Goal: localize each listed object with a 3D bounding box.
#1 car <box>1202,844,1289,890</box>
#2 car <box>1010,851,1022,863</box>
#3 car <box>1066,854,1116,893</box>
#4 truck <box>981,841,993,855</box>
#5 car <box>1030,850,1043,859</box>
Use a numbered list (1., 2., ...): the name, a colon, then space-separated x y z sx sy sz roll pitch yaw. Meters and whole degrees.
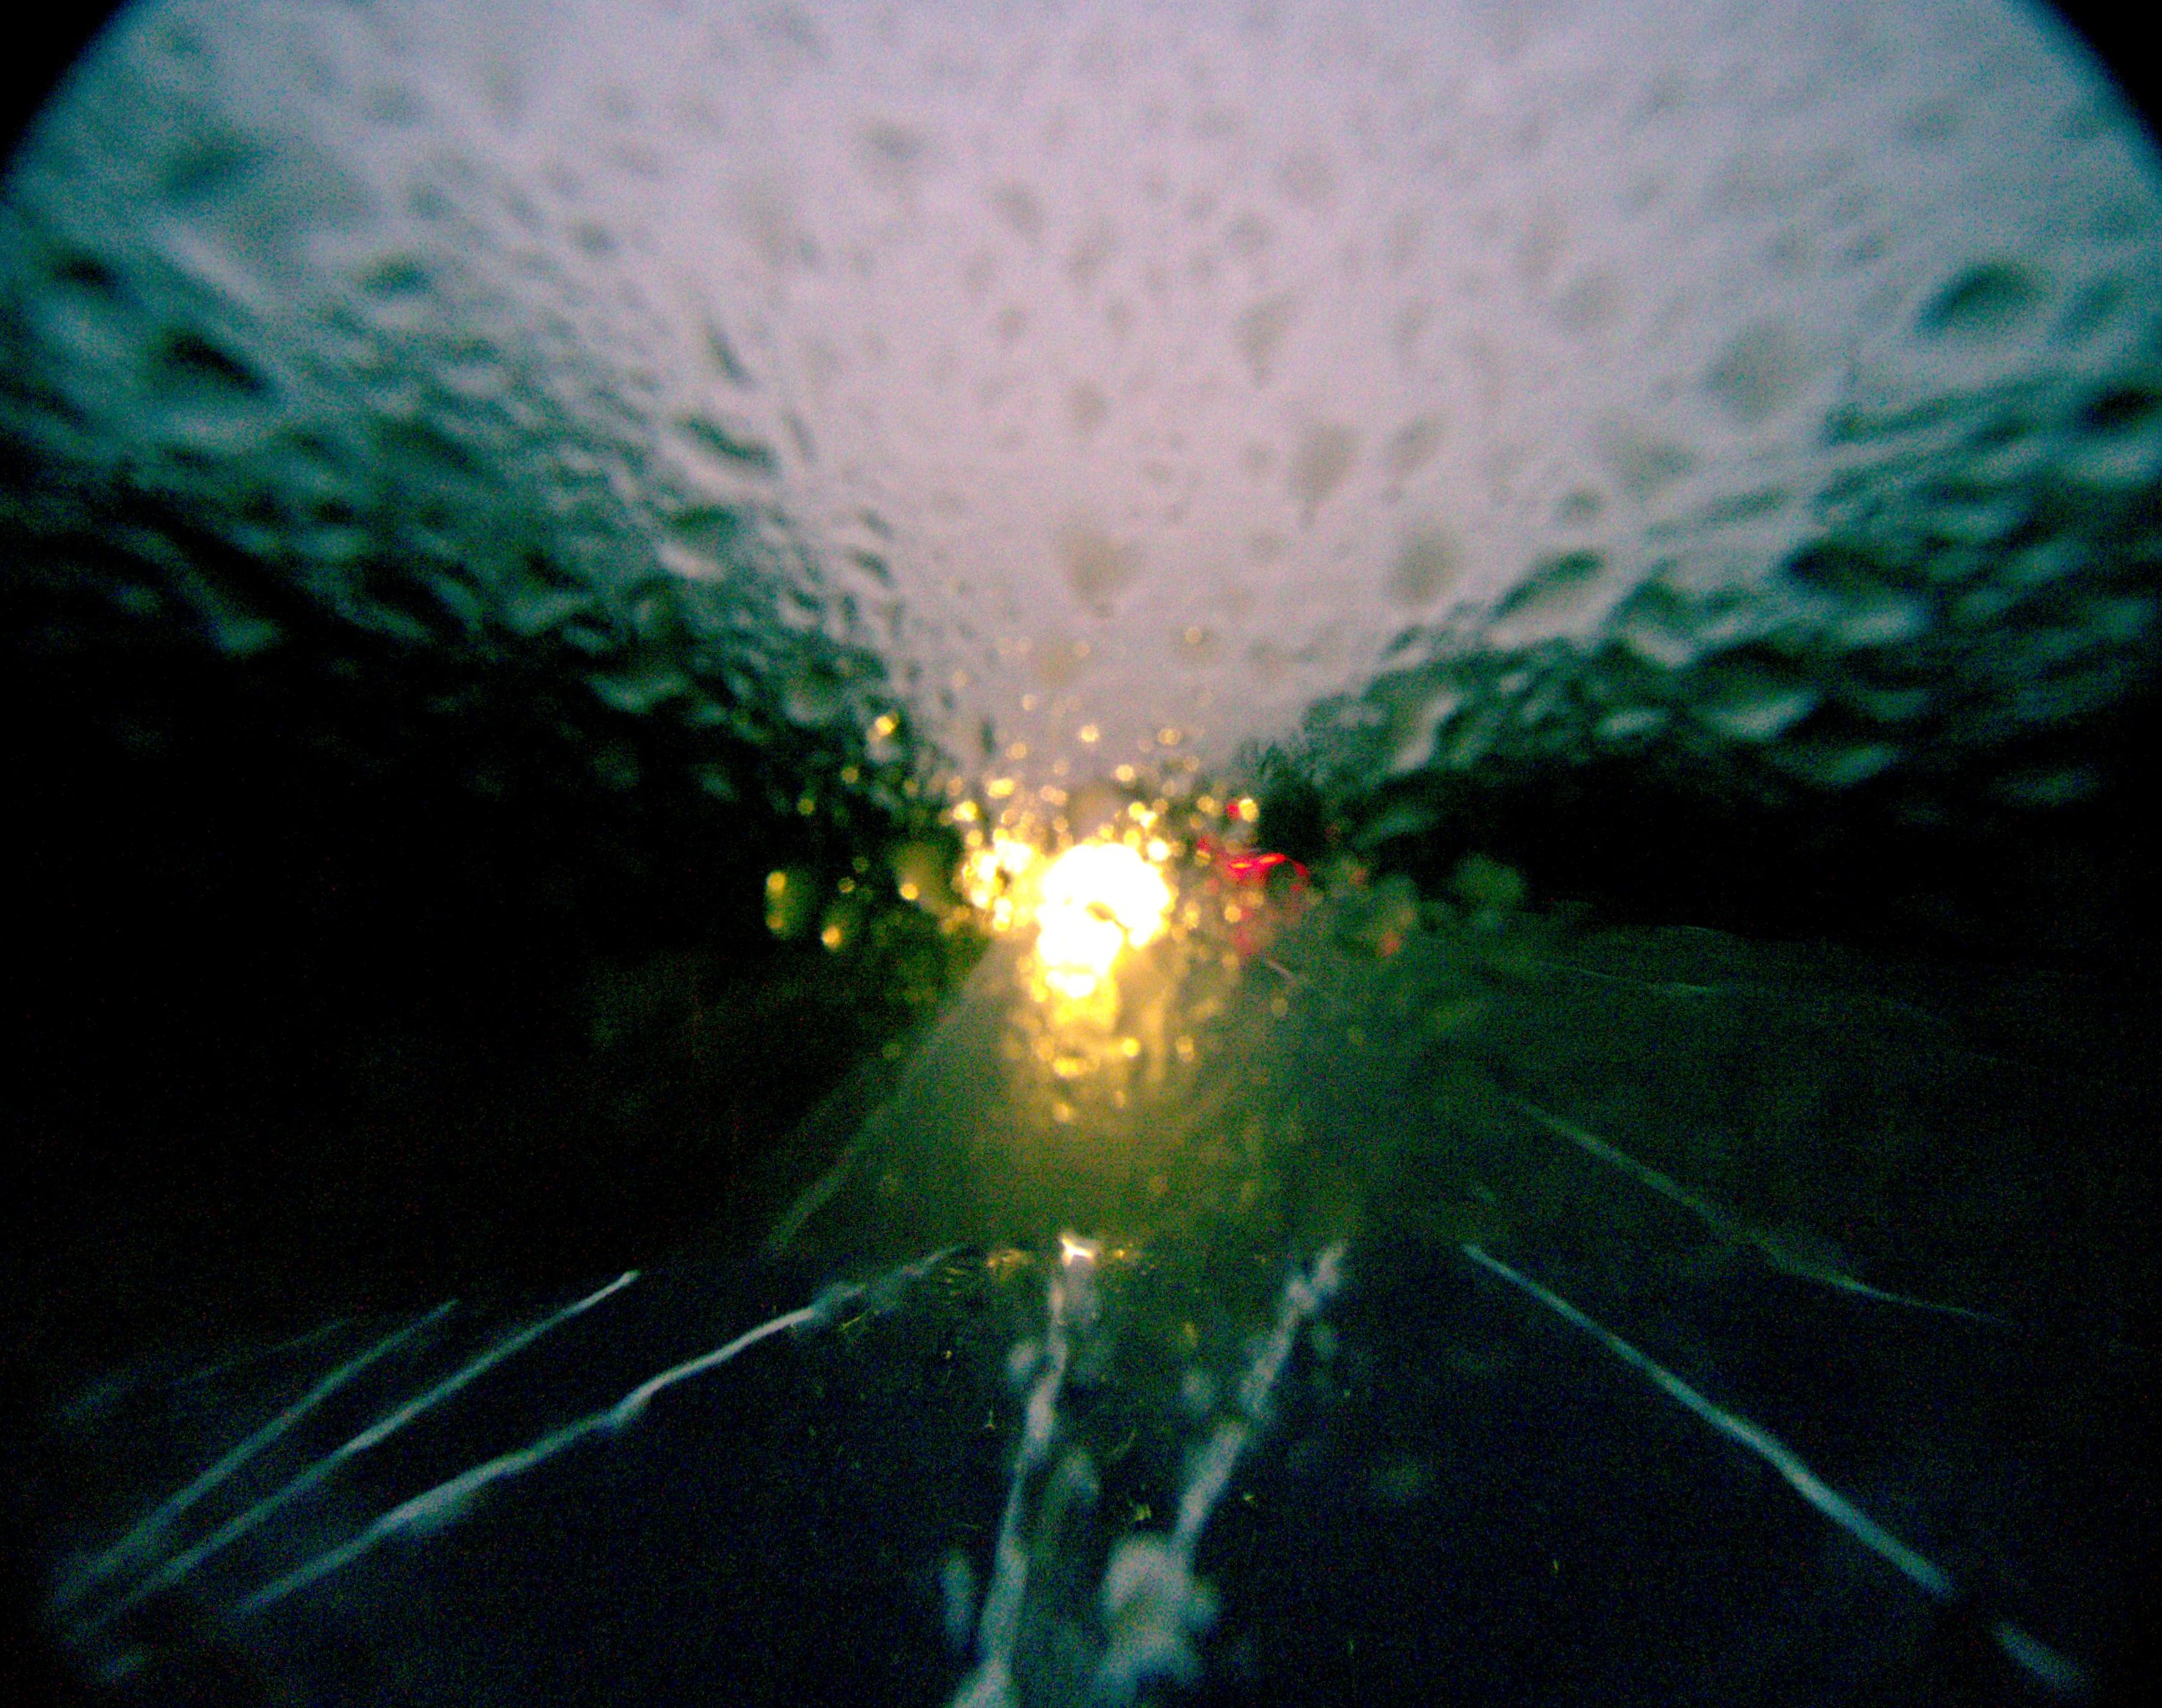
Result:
1. car: 6.364 0.448 29.980 1.999 1.639 4.719 -2 1 -5
2. car: -10.049 0.434 117.929 1.702 1.721 3.997 -3 1 -6
3. car: 0.348 0.764 32.074 1.850 1.429 4.243 -2 1 -2
4. truck: -25.390 -1.710 204.032 2.657 3.576 9.831 -1 1 -10
5. car: -7.446 0.096 127.862 1.770 1.488 4.099 -2 0 -8
